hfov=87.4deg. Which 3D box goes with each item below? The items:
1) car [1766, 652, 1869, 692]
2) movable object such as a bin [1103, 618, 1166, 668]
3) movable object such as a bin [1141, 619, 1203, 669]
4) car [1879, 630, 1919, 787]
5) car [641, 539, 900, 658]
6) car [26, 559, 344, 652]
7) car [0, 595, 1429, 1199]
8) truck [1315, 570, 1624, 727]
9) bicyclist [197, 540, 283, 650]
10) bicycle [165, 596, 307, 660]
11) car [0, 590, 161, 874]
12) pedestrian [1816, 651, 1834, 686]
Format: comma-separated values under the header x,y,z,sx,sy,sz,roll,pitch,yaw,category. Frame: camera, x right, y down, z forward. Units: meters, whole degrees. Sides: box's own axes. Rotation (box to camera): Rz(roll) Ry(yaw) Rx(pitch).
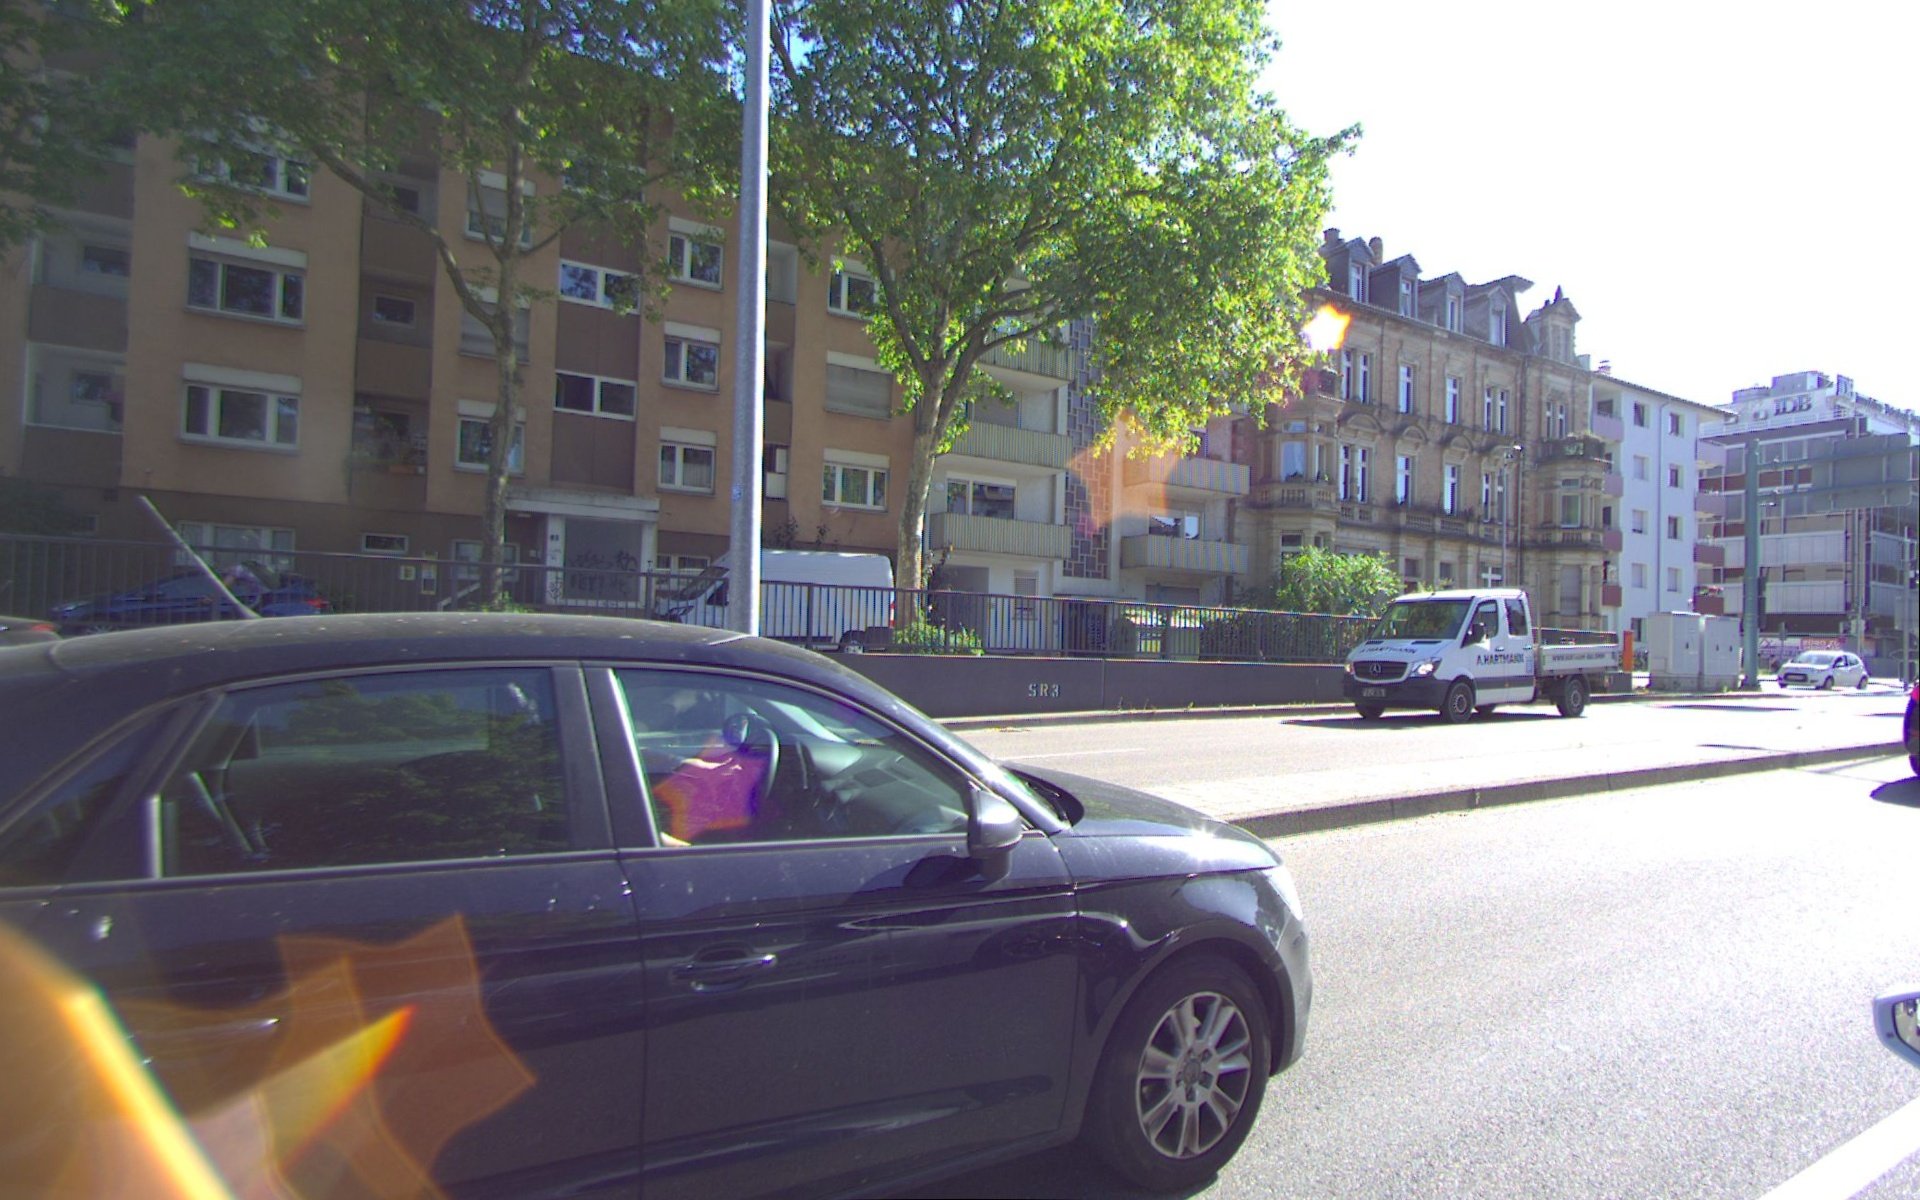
x,y,z,sx,sy,sz,roll,pitch,yaw,category
32.966,2.760,38.603,3.566,1.428,1.671,2,-1,-25,car
5.199,1.280,29.953,1.286,1.421,1.273,2,0,-30,movable object such as a bin
6.428,1.331,30.527,1.309,1.421,1.273,2,0,-30,movable object such as a bin
11.443,1.102,10.210,4.946,1.458,1.799,2,0,-32,car
-4.230,0.026,22.726,5.355,2.391,1.984,2,0,-30,car
-13.240,0.119,17.555,4.124,1.407,1.983,2,0,-31,car
-0.720,0.770,2.641,3.845,1.437,1.686,2,0,-32,car
9.649,0.864,18.854,6.056,2.561,2.219,1,-2,-30,truck
-11.197,-0.068,15.654,1.012,1.655,0.770,2,0,-34,bicyclist
-11.229,0.440,15.654,1.740,0.939,0.652,2,0,-34,bicycle
-6.594,0.698,5.228,3.568,1.476,1.601,2,-5,-32,car
49.941,3.945,57.983,0.718,1.921,0.652,2,0,-43,pedestrian
